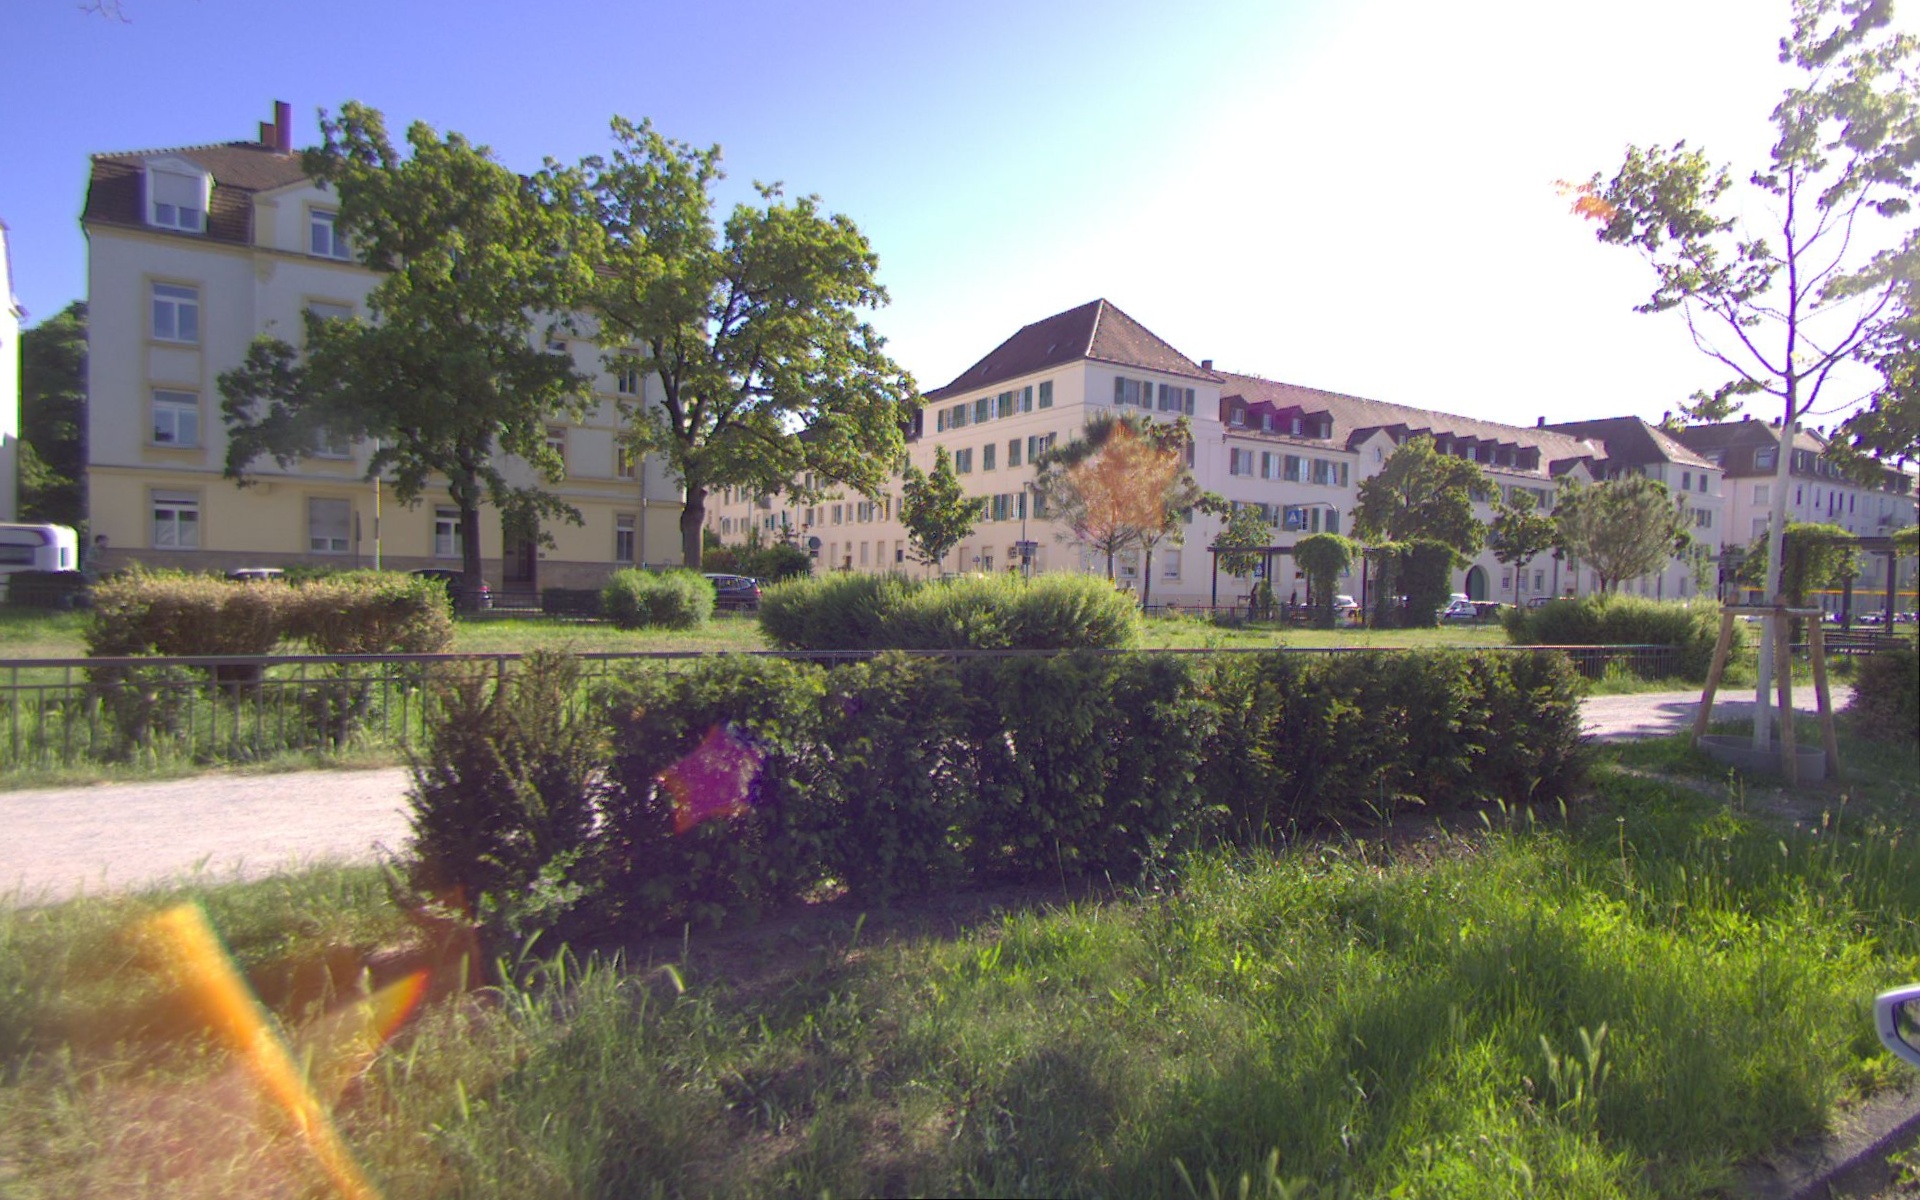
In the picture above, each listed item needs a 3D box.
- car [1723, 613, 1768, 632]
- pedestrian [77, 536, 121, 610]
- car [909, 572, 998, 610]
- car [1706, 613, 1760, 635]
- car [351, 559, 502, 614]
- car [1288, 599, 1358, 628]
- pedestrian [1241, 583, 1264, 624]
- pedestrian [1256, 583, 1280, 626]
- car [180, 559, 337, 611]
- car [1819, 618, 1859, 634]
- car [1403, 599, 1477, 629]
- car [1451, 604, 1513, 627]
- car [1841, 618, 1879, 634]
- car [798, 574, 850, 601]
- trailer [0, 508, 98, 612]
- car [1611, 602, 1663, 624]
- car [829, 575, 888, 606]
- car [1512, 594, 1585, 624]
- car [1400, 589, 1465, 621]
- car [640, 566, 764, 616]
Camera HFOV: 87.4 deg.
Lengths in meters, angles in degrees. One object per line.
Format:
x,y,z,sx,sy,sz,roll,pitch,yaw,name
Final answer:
69.991,2.010,89.492,3.953,1.530,1.785,1,1,-30,car
-20.007,-0.617,23.349,0.642,1.683,0.645,1,1,-30,pedestrian
-0.324,-0.445,47.889,3.936,1.674,1.793,3,1,37,car
58.044,1.804,75.405,3.953,1.530,1.785,1,1,-30,car
-18.210,-0.444,34.397,4.445,1.755,1.785,1,1,-30,car
21.429,0.800,59.260,3.956,1.633,1.784,1,1,-32,car
12.261,0.146,42.112,0.642,1.721,0.645,1,1,-30,pedestrian
12.652,0.178,41.323,0.642,1.721,0.645,1,1,-30,pedestrian
-22.459,-0.492,32.346,3.953,1.530,1.785,1,2,-30,car
87.267,2.600,99.698,4.095,1.530,1.785,1,1,-30,car
26.688,0.781,55.804,3.953,1.530,1.785,1,1,-30,car
34.973,1.051,67.299,3.953,1.403,1.785,1,1,-30,car
91.614,2.685,102.227,3.954,1.530,1.785,1,1,-31,car
-8.385,-0.798,61.674,1.779,1.530,3.967,1,1,-30,car
-28.471,-1.188,28.490,5.736,2.909,2.331,1,2,-31,trailer
52.815,1.019,78.304,3.953,1.530,1.785,1,1,-30,car
-5.821,-0.562,57.157,1.779,1.587,3.966,1,1,-31,car
36.277,0.564,61.854,4.647,1.733,1.785,1,1,-30,car
30.330,0.311,64.491,3.953,1.935,1.785,1,1,-30,car
-10.112,-0.349,39.463,4.407,1.840,1.784,1,1,-32,car
